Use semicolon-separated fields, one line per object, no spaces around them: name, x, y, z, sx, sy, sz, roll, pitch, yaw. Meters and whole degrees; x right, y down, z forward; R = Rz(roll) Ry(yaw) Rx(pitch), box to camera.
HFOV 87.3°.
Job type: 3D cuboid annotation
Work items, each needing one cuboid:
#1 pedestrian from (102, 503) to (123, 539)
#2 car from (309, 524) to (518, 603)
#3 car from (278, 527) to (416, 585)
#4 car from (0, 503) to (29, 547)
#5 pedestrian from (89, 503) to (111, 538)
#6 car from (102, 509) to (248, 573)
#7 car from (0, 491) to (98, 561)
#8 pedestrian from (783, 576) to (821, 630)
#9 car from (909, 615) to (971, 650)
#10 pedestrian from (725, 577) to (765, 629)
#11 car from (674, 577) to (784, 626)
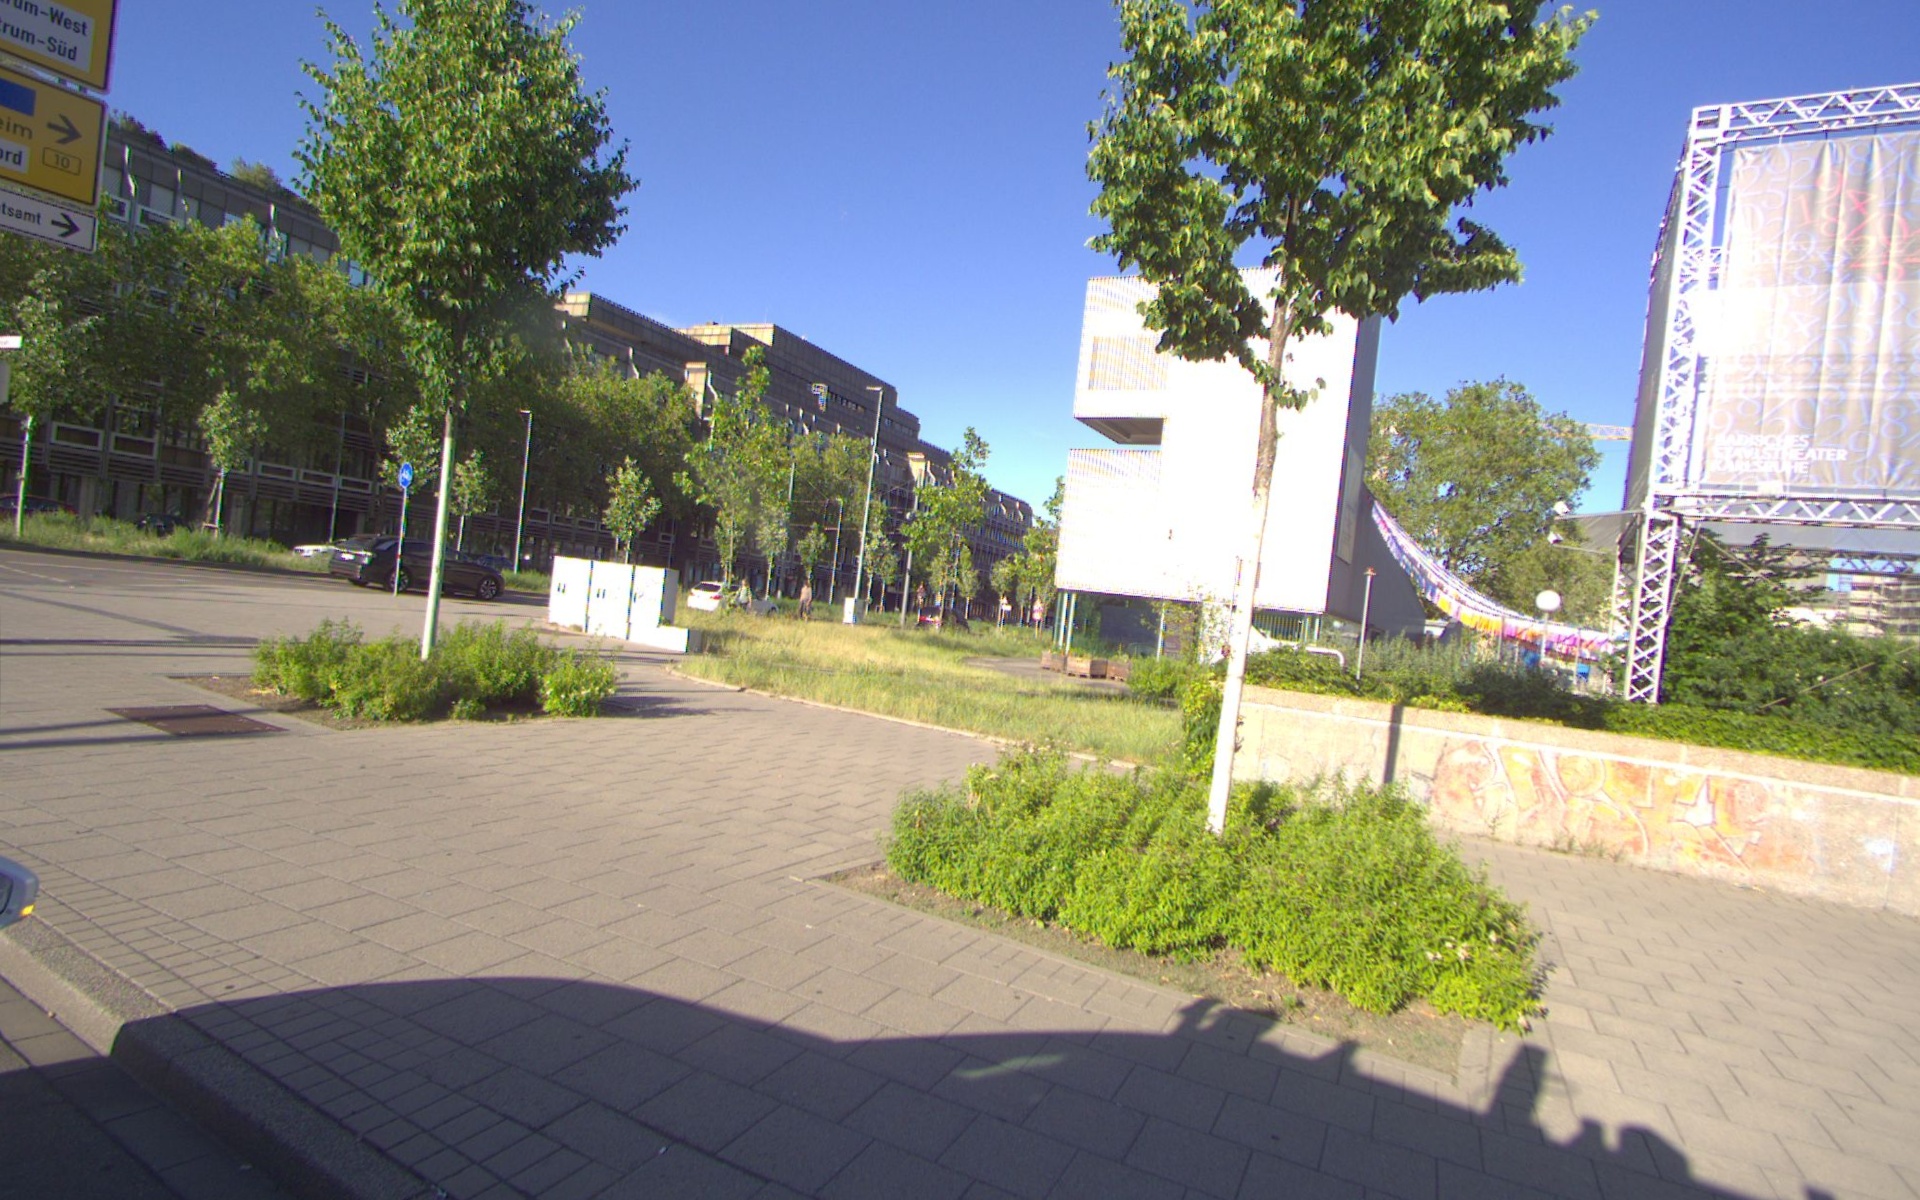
pedestrian;-42.214;-3.939;50.117;0.528;1.690;0.541;7;1;29
car;-15.543;-0.976;28.948;1.965;1.621;4.948;9;1;26
car;-30.682;-2.180;50.584;2.062;2.036;5.455;6;-2;29
car;-37.250;-3.042;36.943;1.836;1.525;3.997;7;-2;29
pedestrian;-42.973;-3.972;50.263;0.576;1.610;0.541;7;1;29
car;-34.118;-2.528;43.880;1.965;2.036;4.458;7;-2;27
car;-33.320;-2.710;35.373;1.966;2.037;3.997;6;-2;29
pedestrian;-5.533;0.106;35.334;0.925;1.750;0.695;7;1;18
car;-1.157;2.002;60.584;1.963;1.779;4.486;7;-1;22
pedestrian;-7.477;0.110;34.972;0.925;1.650;0.803;7;1;18
car;-9.556;0.104;42.024;1.964;1.546;4.700;7;-1;24
